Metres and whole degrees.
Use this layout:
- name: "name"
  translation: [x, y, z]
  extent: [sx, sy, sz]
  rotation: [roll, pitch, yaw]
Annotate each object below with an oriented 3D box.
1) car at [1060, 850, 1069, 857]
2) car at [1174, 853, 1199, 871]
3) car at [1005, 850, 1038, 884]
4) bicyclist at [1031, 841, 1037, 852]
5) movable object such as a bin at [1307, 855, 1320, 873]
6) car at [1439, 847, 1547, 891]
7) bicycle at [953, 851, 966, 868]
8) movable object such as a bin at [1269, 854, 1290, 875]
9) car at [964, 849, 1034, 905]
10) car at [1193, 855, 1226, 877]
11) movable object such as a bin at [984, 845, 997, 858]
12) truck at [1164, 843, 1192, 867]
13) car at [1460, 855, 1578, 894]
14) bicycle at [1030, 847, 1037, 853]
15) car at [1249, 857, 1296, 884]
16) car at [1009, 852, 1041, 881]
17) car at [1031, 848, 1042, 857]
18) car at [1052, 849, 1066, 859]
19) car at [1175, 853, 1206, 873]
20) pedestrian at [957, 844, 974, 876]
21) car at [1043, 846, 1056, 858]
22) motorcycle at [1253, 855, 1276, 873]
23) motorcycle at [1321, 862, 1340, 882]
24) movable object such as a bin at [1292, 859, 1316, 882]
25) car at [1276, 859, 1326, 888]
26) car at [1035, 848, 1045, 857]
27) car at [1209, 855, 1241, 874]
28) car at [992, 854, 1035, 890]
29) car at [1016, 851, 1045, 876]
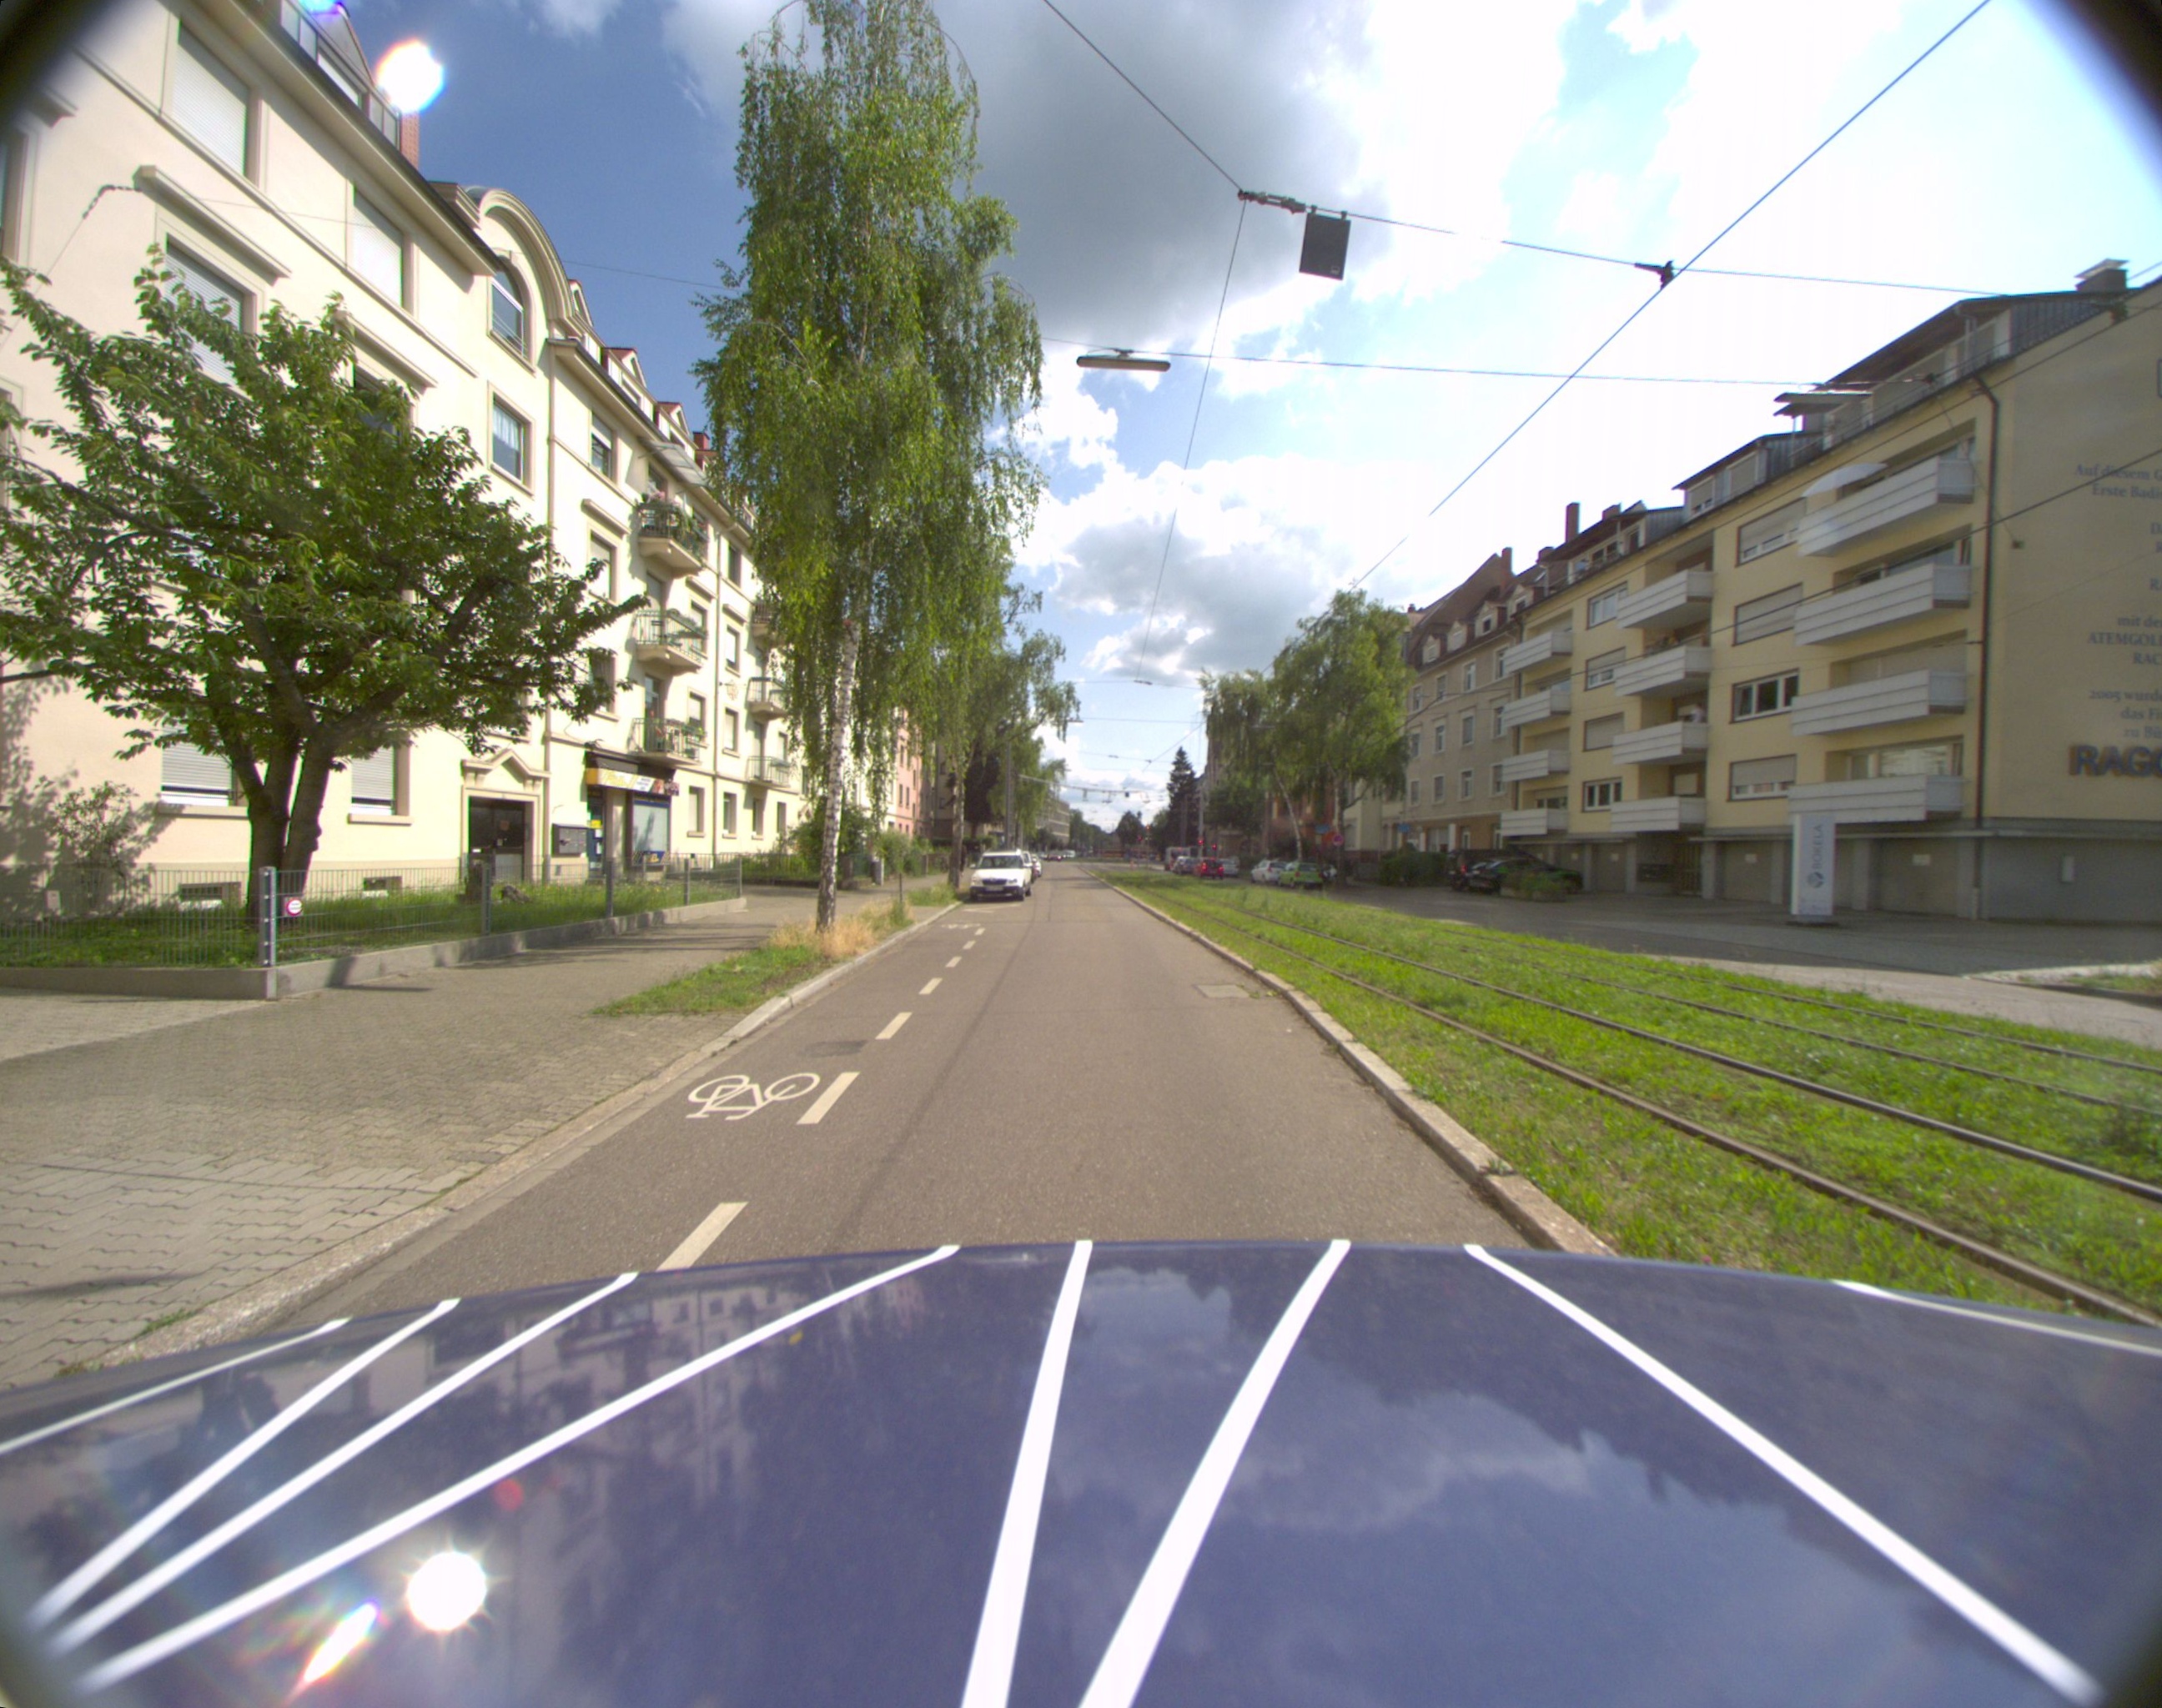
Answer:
- name: "car"
  translation: [-3.356, -0.120, 153.249]
  extent: [1.619, 1.265, 4.000]
  rotation: [0, 1, 2]
- name: "car"
  translation: [9.162, 0.679, 66.228]
  extent: [1.759, 1.406, 4.134]
  rotation: [3, 1, 3]
- name: "car"
  translation: [-2.910, 0.601, 37.448]
  extent: [1.497, 1.570, 3.757]
  rotation: [-1, 1, -3]
- name: "bicyclist"
  translation: [-7.029, -1.108, 113.604]
  extent: [0.665, 1.679, 0.857]
  rotation: [2, 1, 4]
- name: "movable object such as a bin"
  translation: [17.236, 0.737, 56.285]
  extent: [0.675, 1.354, 0.699]
  rotation: [1, 1, -5]
- name: "car"
  translation: [19.240, 0.677, 35.616]
  extent: [3.996, 2.002, 1.937]
  rotation: [-1, 1, 2]
- name: "bicycle"
  translation: [-8.075, 0.376, 50.613]
  extent: [0.472, 1.071, 2.182]
  rotation: [2, 0, 0]
- name: "movable object such as a bin"
  translation: [14.197, 0.739, 54.379]
  extent: [0.953, 1.359, 1.521]
  rotation: [-4, 1, -2]
- name: "car"
  translation: [-2.530, 0.662, 24.337]
  extent: [1.725, 1.620, 4.000]
  rotation: [-1, 1, 1]
- name: "car"
  translation: [8.899, 0.789, 52.843]
  extent: [1.583, 1.379, 3.692]
  rotation: [2, 0, -1]
- name: "movable object such as a bin"
  translation: [-10.638, -0.250, 89.496]
  extent: [1.305, 1.483, 2.000]
  rotation: [2, 1, -1]
- name: "truck"
  translation: [9.609, 0.068, 75.970]
  extent: [2.190, 2.201, 6.613]
  rotation: [2, 0, 3]
- name: "car"
  translation: [18.912, 0.876, 32.962]
  extent: [3.997, 1.593, 1.972]
  rotation: [-1, 1, -2]
- name: "bicycle"
  translation: [-7.040, -0.646, 113.642]
  extent: [0.771, 0.885, 1.892]
  rotation: [1, 0, 4]
- name: "car"
  translation: [11.705, 0.989, 46.671]
  extent: [1.649, 1.469, 4.224]
  rotation: [3, 0, -1]
- name: "car"
  translation: [-3.106, 0.662, 42.631]
  extent: [1.593, 1.444, 3.843]
  rotation: [-2, 1, -2]
- name: "car"
  translation: [-8.364, -0.303, 142.915]
  extent: [1.999, 1.730, 3.998]
  rotation: [1, 0, -3]
- name: "car"
  translation: [-3.173, 0.010, 110.534]
  extent: [1.741, 1.313, 4.000]
  rotation: [-1, 1, 2]
- name: "car"
  translation: [8.581, 0.686, 59.843]
  extent: [1.759, 1.348, 4.511]
  rotation: [3, 1, 0]
- name: "pedestrian"
  translation: [-6.256, 0.308, 41.220]
  extent: [0.731, 1.673, 0.691]
  rotation: [3, 1, 1]
- name: "car"
  translation: [-5.275, -0.391, 127.331]
  extent: [1.998, 2.002, 4.000]
  rotation: [1, 1, 1]
- name: "motorcycle"
  translation: [13.813, 0.740, 57.177]
  extent: [0.903, 1.235, 2.293]
  rotation: [1, 0, -7]
- name: "motorcycle"
  translation: [14.242, 1.027, 43.377]
  extent: [0.500, 1.037, 1.631]
  rotation: [-2, 2, -2]
- name: "movable object such as a bin"
  translation: [14.044, 1.041, 47.867]
  extent: [0.953, 1.421, 1.521]
  rotation: [-1, 1, -2]
- name: "car"
  translation: [11.982, 1.016, 41.546]
  extent: [1.598, 1.424, 3.613]
  rotation: [2, 0, -1]
- name: "car"
  translation: [-8.103, -0.236, 151.255]
  extent: [1.836, 1.674, 3.999]
  rotation: [1, 0, -2]
- name: "car"
  translation: [11.305, 0.825, 59.944]
  extent: [1.759, 1.348, 3.994]
  rotation: [2, 1, 0]
- name: "car"
  translation: [-2.899, 0.743, 33.247]
  extent: [1.677, 1.409, 3.794]
  rotation: [-2, 1, -2]
- name: "car"
  translation: [-3.124, 0.555, 47.564]
  extent: [1.624, 1.444, 3.917]
  rotation: [-2, 1, -2]
